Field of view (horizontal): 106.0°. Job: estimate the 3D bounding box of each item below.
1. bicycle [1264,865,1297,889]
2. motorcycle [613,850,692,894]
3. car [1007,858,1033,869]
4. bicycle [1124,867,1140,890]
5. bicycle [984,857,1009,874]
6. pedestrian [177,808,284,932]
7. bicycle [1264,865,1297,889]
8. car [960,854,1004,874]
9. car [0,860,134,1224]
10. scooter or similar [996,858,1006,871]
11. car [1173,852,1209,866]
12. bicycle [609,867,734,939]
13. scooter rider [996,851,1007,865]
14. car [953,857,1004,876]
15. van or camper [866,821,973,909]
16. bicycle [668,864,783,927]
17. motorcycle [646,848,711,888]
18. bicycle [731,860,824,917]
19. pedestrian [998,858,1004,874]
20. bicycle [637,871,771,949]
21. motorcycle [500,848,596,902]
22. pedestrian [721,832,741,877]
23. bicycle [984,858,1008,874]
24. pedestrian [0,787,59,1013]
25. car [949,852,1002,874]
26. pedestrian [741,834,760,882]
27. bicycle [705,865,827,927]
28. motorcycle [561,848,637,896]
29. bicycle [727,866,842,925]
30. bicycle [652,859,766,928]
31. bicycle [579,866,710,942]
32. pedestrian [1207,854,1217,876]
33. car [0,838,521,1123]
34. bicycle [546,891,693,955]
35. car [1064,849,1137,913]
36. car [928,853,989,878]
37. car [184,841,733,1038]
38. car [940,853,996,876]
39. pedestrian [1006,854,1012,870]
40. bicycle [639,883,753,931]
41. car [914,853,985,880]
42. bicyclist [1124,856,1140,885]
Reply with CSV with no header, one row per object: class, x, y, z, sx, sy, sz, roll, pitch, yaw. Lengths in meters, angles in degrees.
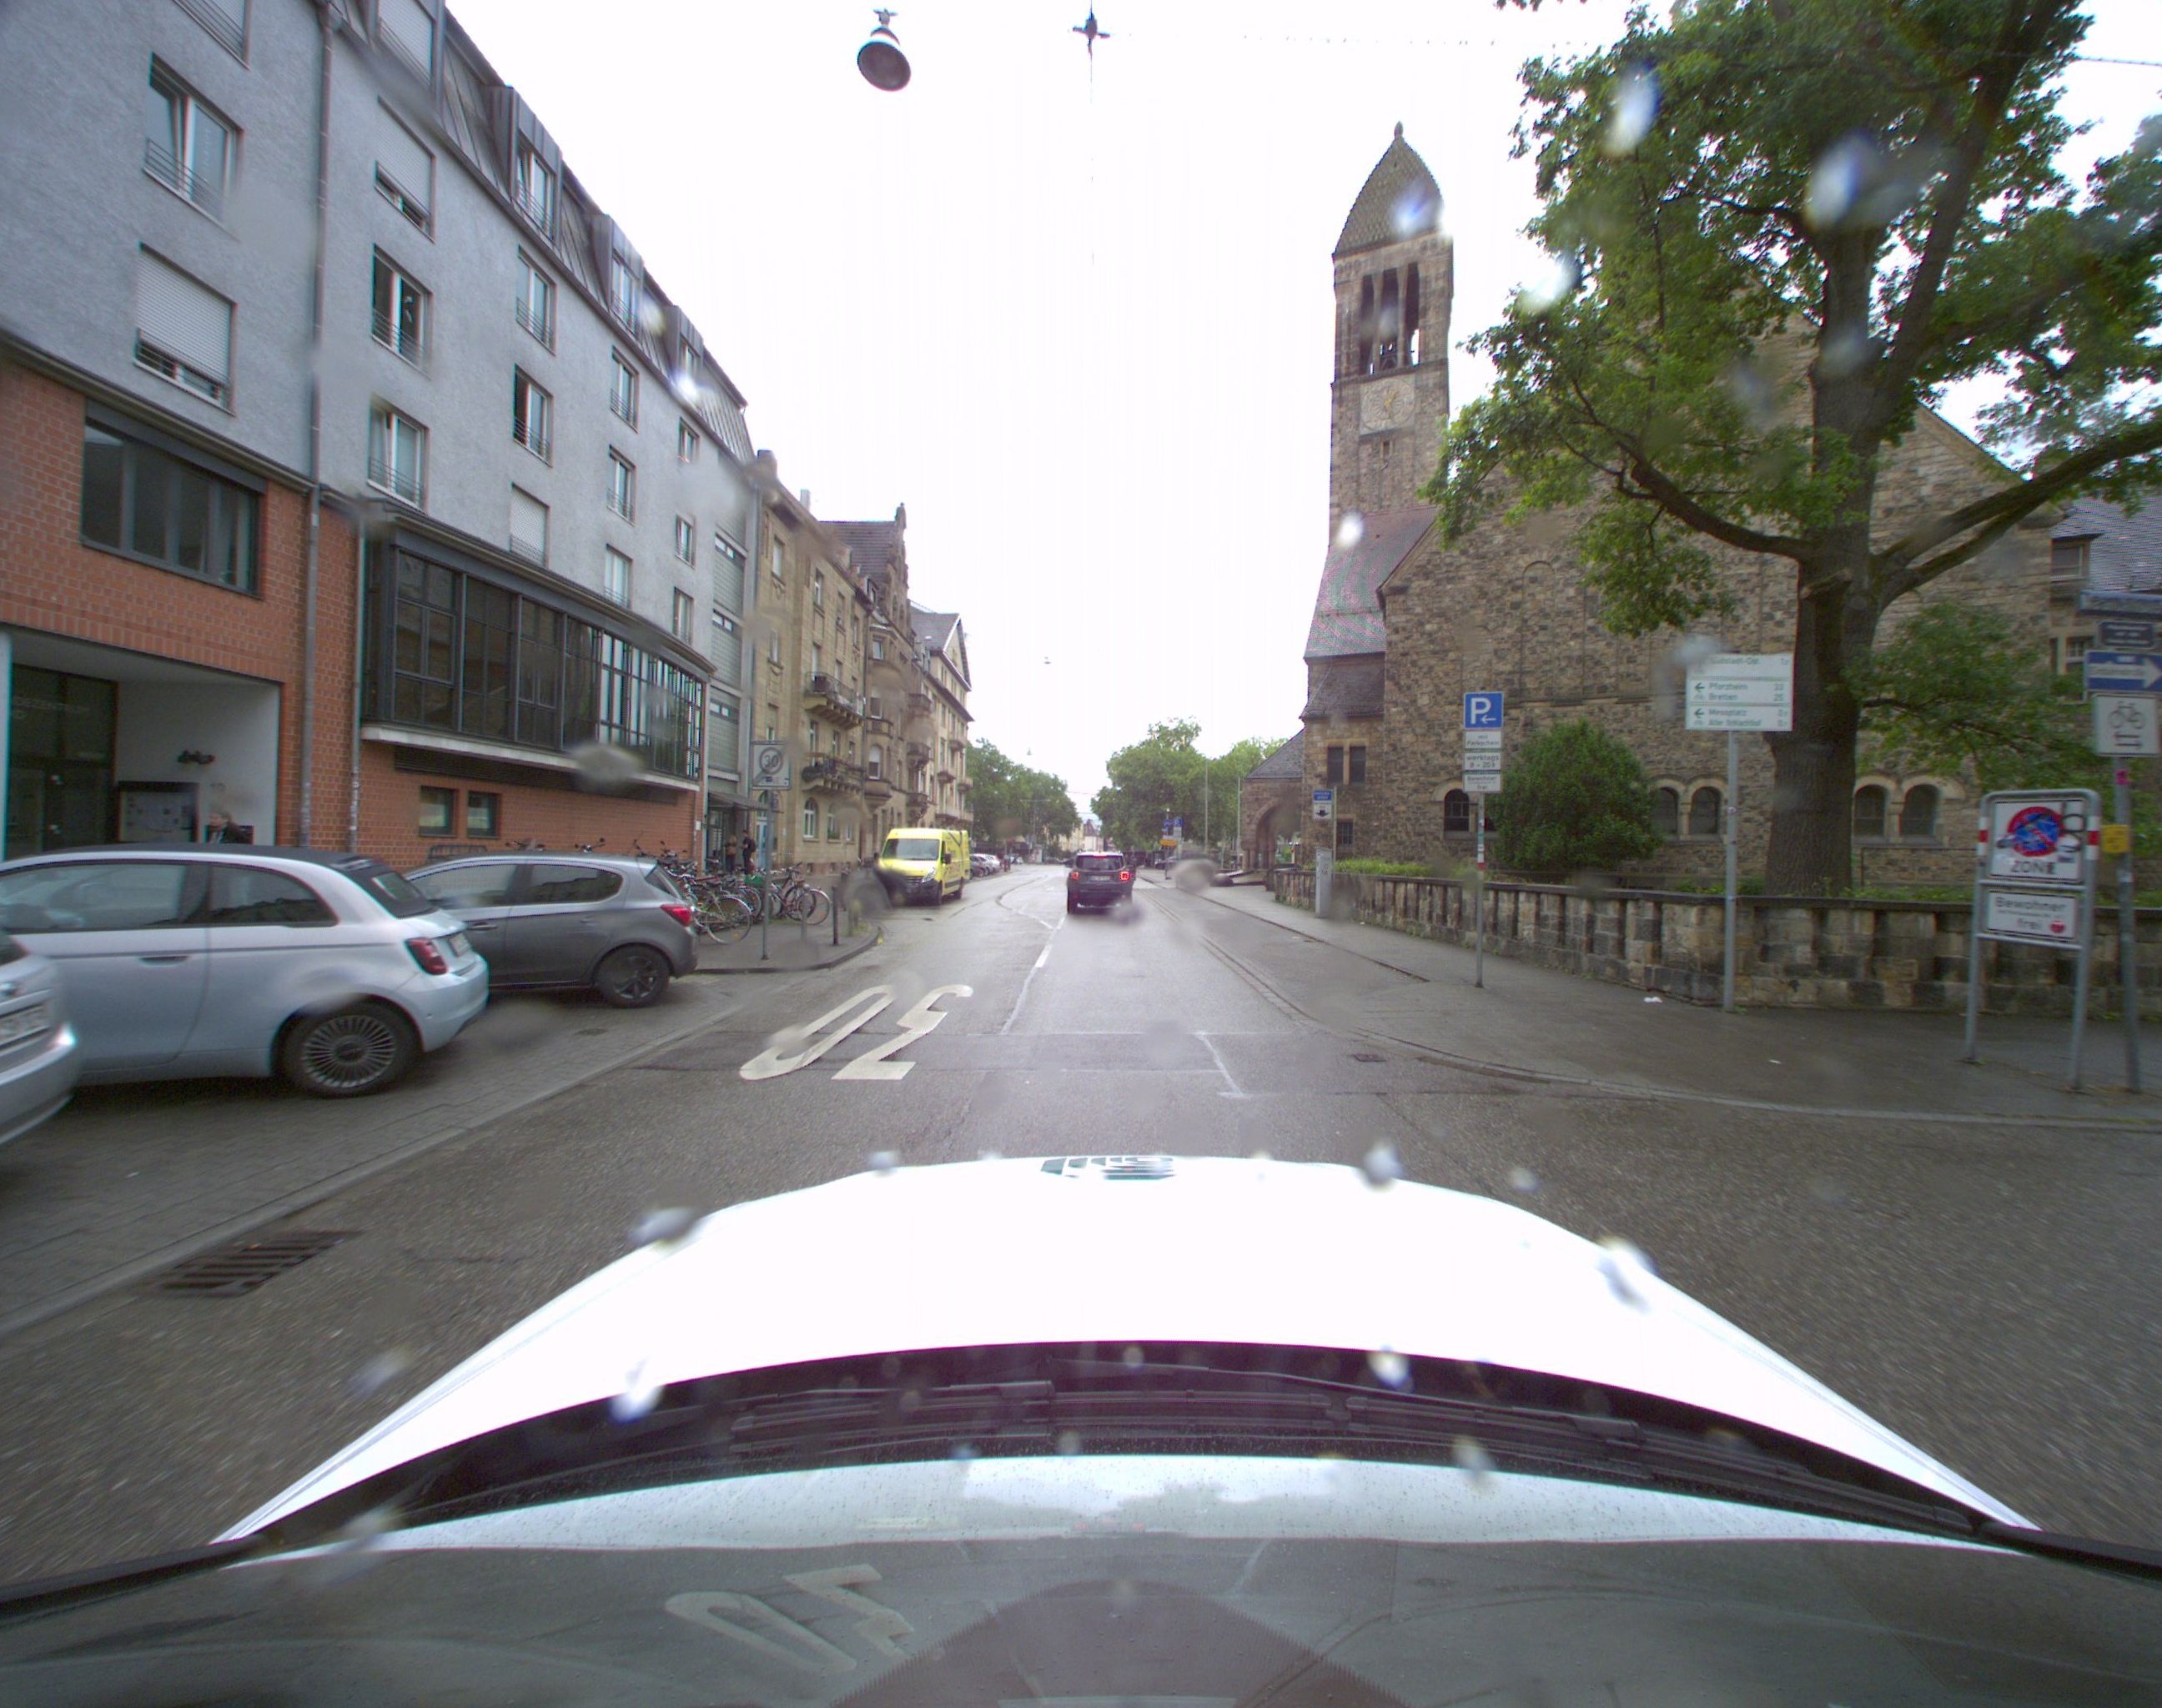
bicycle,9.388,1.079,38.334,1.510,1.102,0.365,0,-1,21
motorcycle,-12.409,0.520,23.676,0.748,1.174,2.123,3,0,13
car,-8.338,1.282,111.125,3.162,1.501,1.549,0,0,18
bicycle,2.475,1.181,39.770,0.702,1.054,1.813,0,0,1
bicycle,-7.420,1.007,71.364,2.116,1.444,0.535,0,-1,-20
pedestrian,-11.237,0.207,10.771,0.705,1.551,0.609,3,0,7
bicycle,9.477,1.096,38.742,1.474,1.102,0.365,0,-1,21
car,-8.245,0.812,67.876,3.267,1.559,1.519,3,-1,-33
car,-5.916,0.724,2.585,3.398,1.458,1.663,2,-1,-33
scooter or similar,-7.590,1.005,77.664,0.848,1.212,0.986,0,-2,1
car,18.009,0.806,133.454,5.877,2.334,2.062,0,0,4
bicycle,-6.760,0.802,13.496,1.721,1.097,0.505,2,0,-7
scooter rider,-7.576,0.395,77.700,0.877,1.220,0.984,1,-2,1
car,-7.787,0.935,61.946,3.436,1.316,1.761,3,-1,-33
van or camper,-5.276,0.463,27.722,2.114,2.531,6.873,-3,-2,0
bicycle,-6.741,0.778,15.490,1.907,1.097,0.506,2,0,1
motorcycle,-12.555,0.454,25.474,0.566,1.174,1.790,3,-1,24
bicycle,-6.845,0.784,18.439,1.820,1.213,0.624,4,-3,-35
pedestrian,-7.941,1.203,80.565,0.466,1.585,0.659,1,-1,0
bicycle,-5.697,0.839,12.354,1.719,1.097,0.506,2,0,-5
motorcycle,-12.637,0.474,19.402,0.750,1.174,2.116,3,0,1
pedestrian,-13.071,0.025,30.419,0.663,1.675,0.790,0,-1,-23
bicycle,-7.544,1.044,72.357,2.099,1.444,0.487,0,-1,-20
pedestrian,-8.770,0.336,6.256,0.820,1.752,0.758,3,0,7
car,-8.377,0.728,64.573,3.755,1.559,1.655,3,-1,-33
pedestrian,-12.454,0.148,30.689,0.663,1.757,0.790,0,-1,-23
bicycle,-6.191,0.822,16.084,2.125,1.097,0.594,2,0,1
motorcycle,-12.718,0.460,21.555,0.751,1.174,2.113,3,0,-3
bicycle,-6.139,0.847,16.909,2.109,1.097,0.594,2,0,1
bicycle,-6.778,0.707,14.869,1.793,1.167,0.568,2,0,4
bicycle,-6.841,0.774,12.813,1.719,1.097,0.506,2,0,-5
pedestrian,10.269,0.884,63.628,0.688,1.711,0.684,0,-1,1
car,-5.808,0.687,5.274,3.396,1.507,1.665,2,-1,-30
bicycle,-6.349,0.948,11.238,1.716,0.769,0.507,2,0,1
car,0.517,0.722,23.651,1.893,1.671,4.504,0,-1,0
car,-8.361,0.802,55.638,3.680,1.559,1.789,3,-1,-36
car,-5.656,0.702,8.058,3.842,1.507,1.970,2,-1,-30
car,-8.154,0.778,58.836,3.520,1.518,1.866,3,-1,-33
pedestrian,-7.182,0.777,81.020,0.466,1.585,0.752,1,-1,0
bicycle,-6.728,0.921,14.276,1.716,0.731,0.506,2,0,1
car,-8.027,0.791,49.965,3.873,1.479,1.863,3,-1,-40
bicyclist,2.479,0.797,39.774,0.702,1.403,1.171,0,0,1
